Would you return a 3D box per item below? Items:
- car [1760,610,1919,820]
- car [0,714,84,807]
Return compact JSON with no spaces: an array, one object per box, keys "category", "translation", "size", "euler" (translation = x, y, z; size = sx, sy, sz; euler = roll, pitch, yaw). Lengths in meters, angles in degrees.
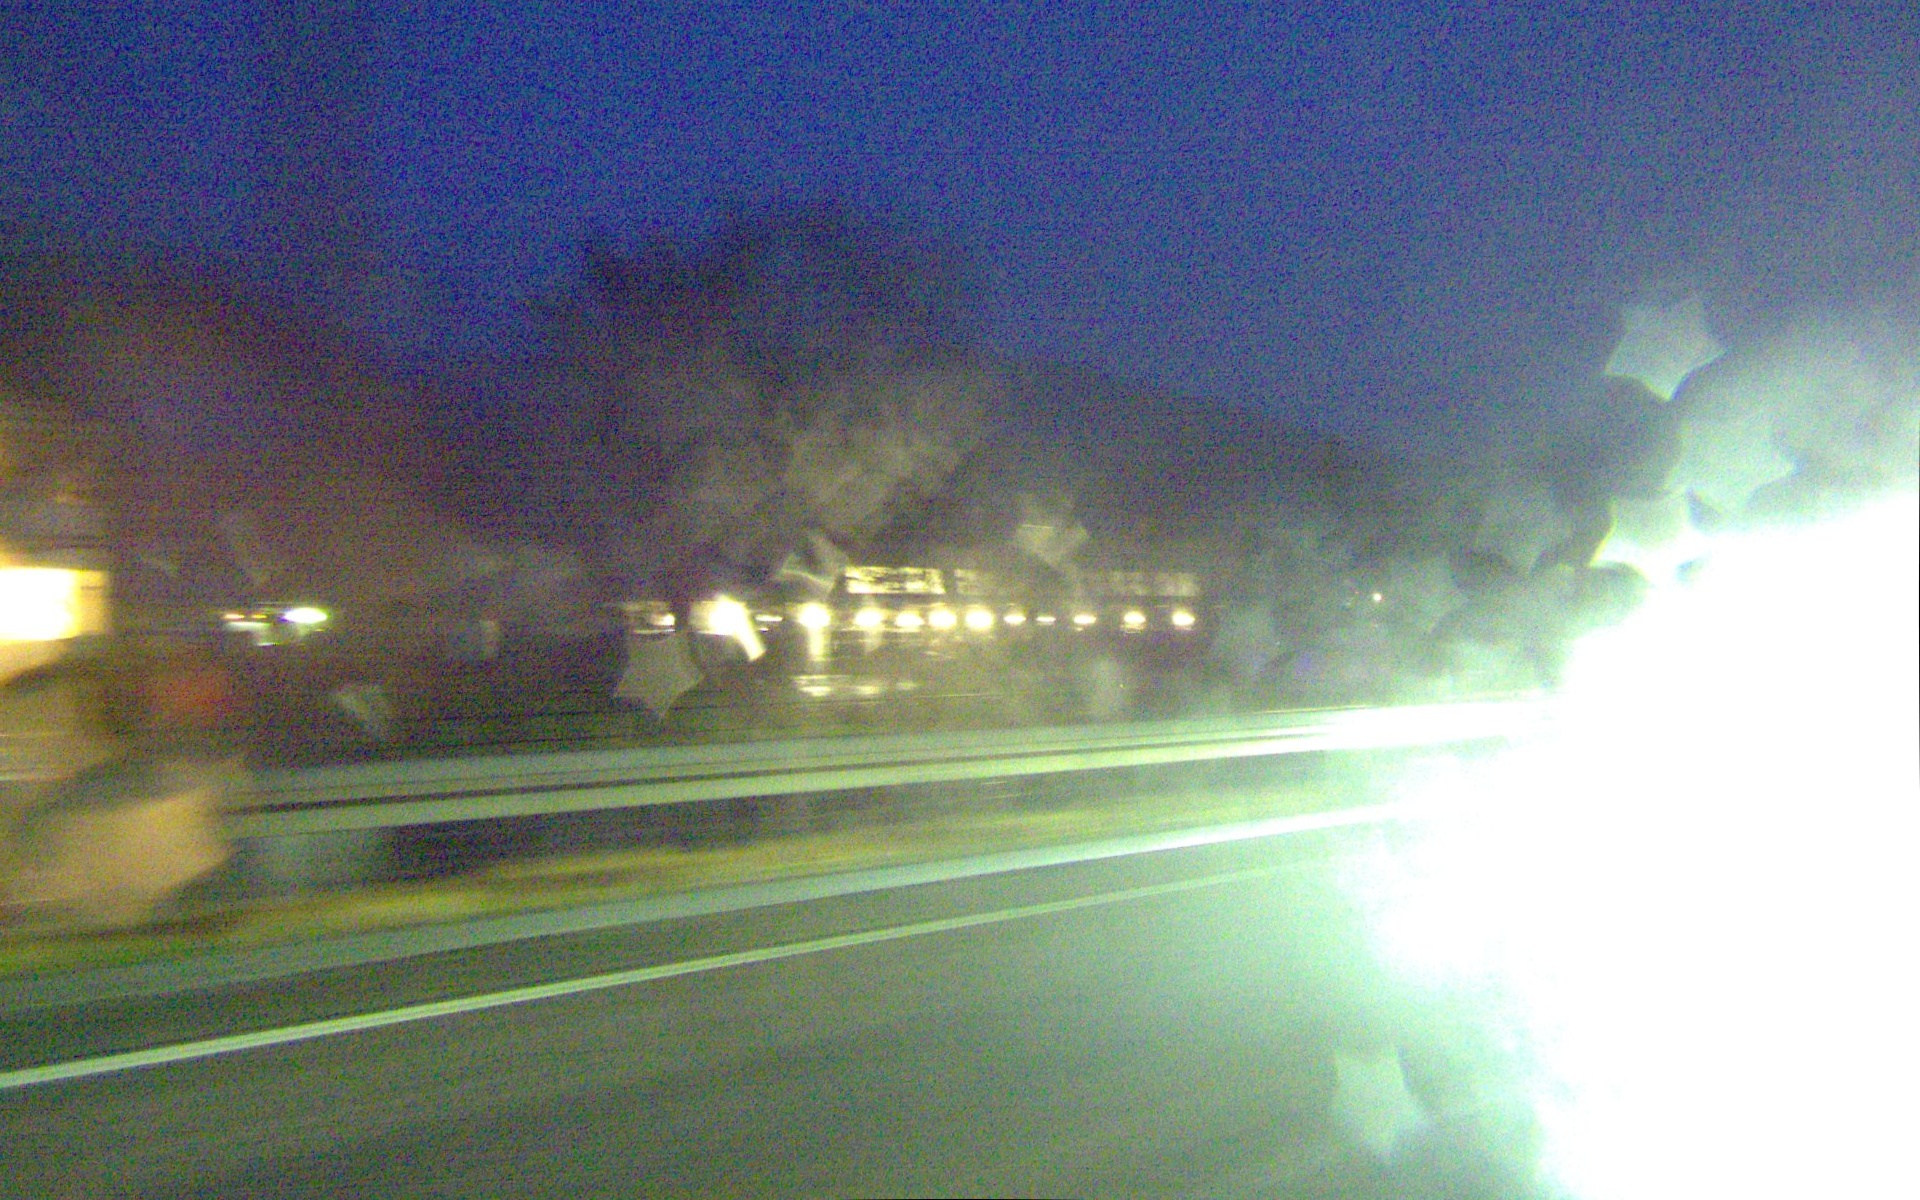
[{"category":"car","translation":[8.971,0.926,8.771],"size":[4.131,1.580,1.808],"euler":[2,-1,-31]},{"category":"car","translation":[-19.996,3.173,19.481],"size":[4.245,1.591,1.798],"euler":[2,-1,-32]}]
